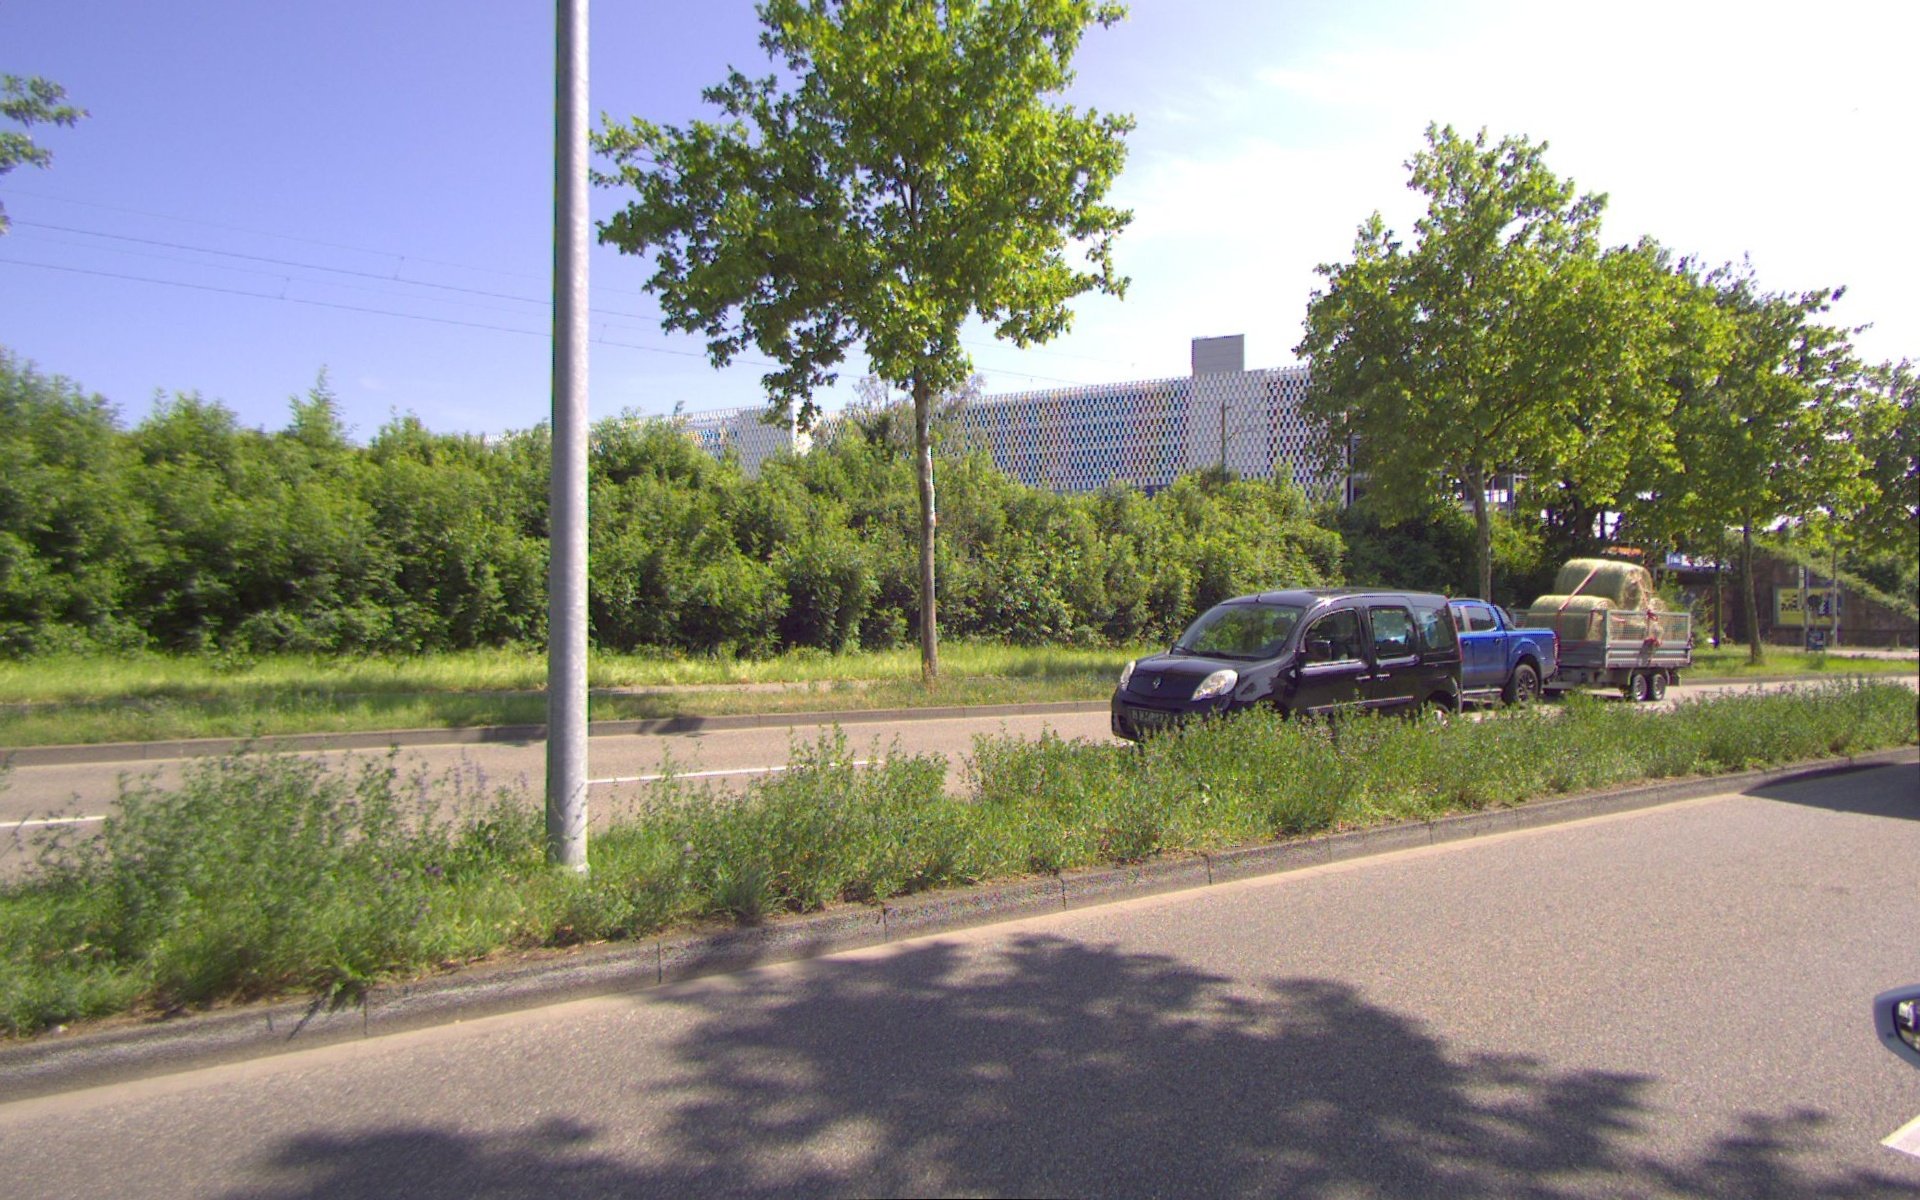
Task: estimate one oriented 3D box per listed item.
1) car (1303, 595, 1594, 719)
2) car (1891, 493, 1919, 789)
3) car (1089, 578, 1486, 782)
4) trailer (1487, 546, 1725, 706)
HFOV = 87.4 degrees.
[{"bbox_3d":[8.374,0.912,17.051,5.313,1.813,1.756,1,1,-30],"label":"car"},{"bbox_3d":[11.594,0.438,9.797,6.096,2.642,2.006,1,0,-31],"label":"car"},{"bbox_3d":[3.605,0.755,10.876,4.182,1.833,1.722,1,1,-30],"label":"car"},{"bbox_3d":[12.588,0.484,19.518,4.772,2.780,1.871,1,1,-30],"label":"trailer"}]
